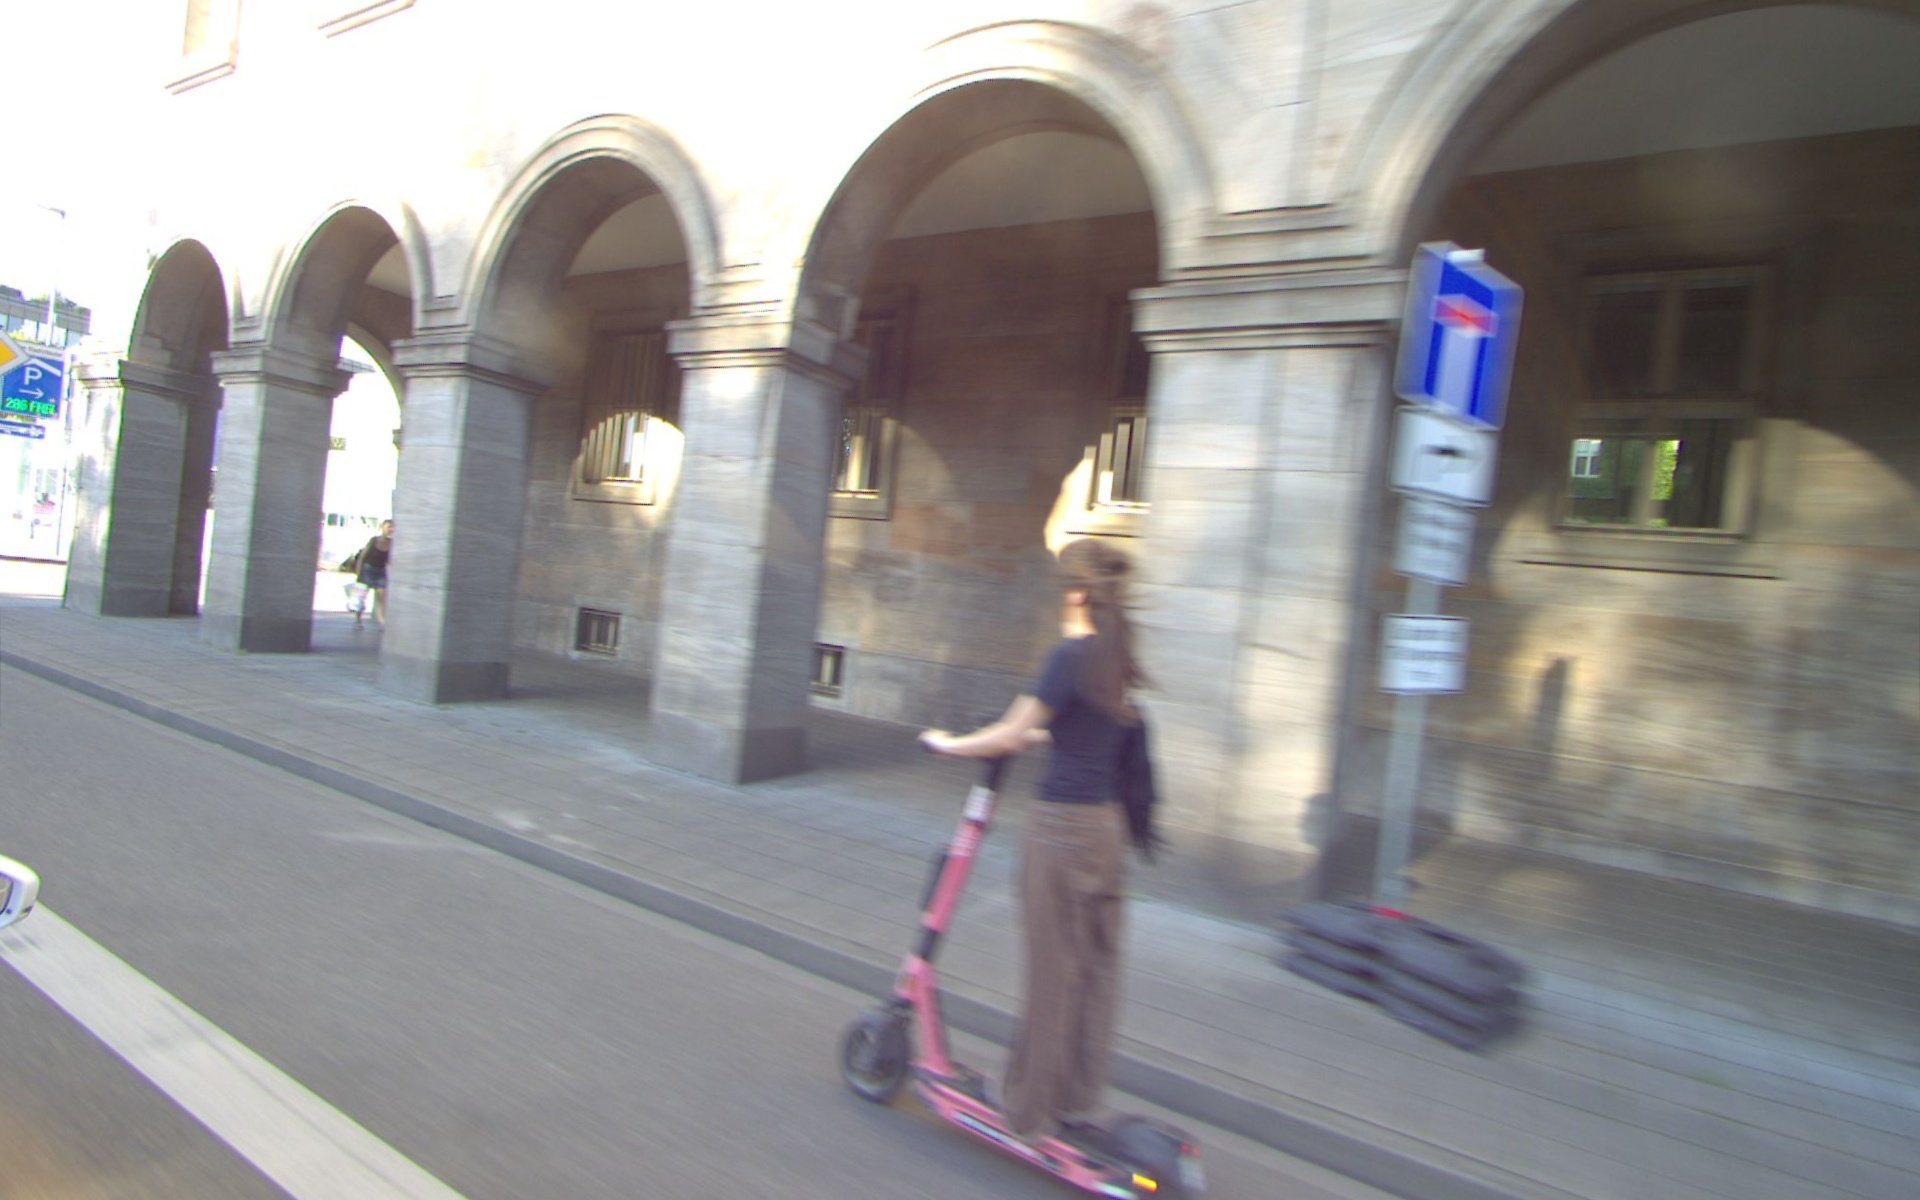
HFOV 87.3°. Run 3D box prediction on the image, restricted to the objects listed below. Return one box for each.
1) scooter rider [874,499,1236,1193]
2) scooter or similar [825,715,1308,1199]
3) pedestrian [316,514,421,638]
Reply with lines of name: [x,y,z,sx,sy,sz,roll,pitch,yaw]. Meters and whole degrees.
scooter rider: [0.271,0.596,2.819,0.640,1.652,0.561,7,1,36]
scooter or similar: [0.269,0.928,2.789,1.100,1.044,0.555,7,1,36]
pedestrian: [-8.303,-0.334,14.137,0.936,1.589,0.777,7,1,30]
